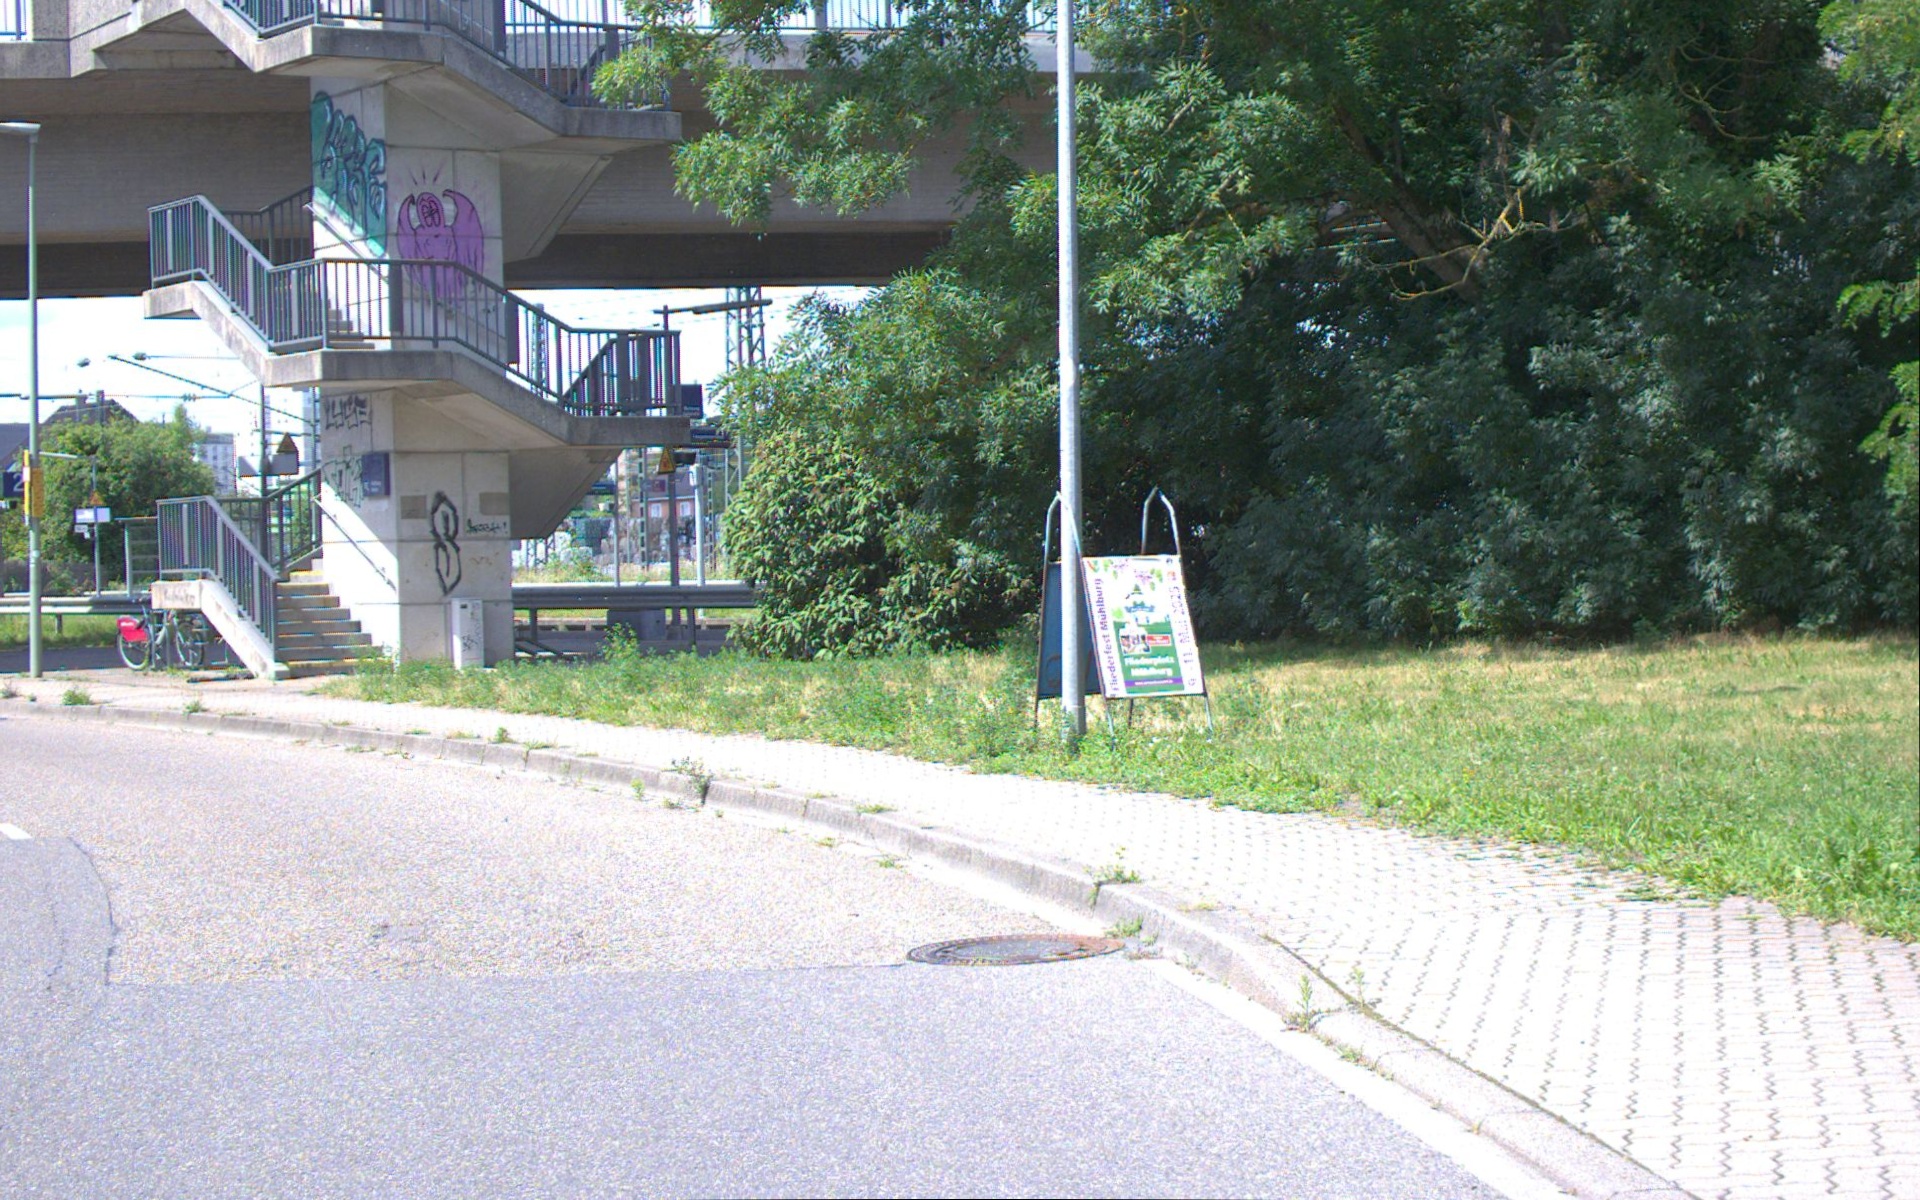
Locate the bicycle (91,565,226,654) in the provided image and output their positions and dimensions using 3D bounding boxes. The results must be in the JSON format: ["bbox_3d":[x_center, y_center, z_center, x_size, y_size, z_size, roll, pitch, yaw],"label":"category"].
[{"bbox_3d":[-10.415,0.124,44.618,0.643,1.104,2.190,-4,2,-43],"label":"bicycle"}]
